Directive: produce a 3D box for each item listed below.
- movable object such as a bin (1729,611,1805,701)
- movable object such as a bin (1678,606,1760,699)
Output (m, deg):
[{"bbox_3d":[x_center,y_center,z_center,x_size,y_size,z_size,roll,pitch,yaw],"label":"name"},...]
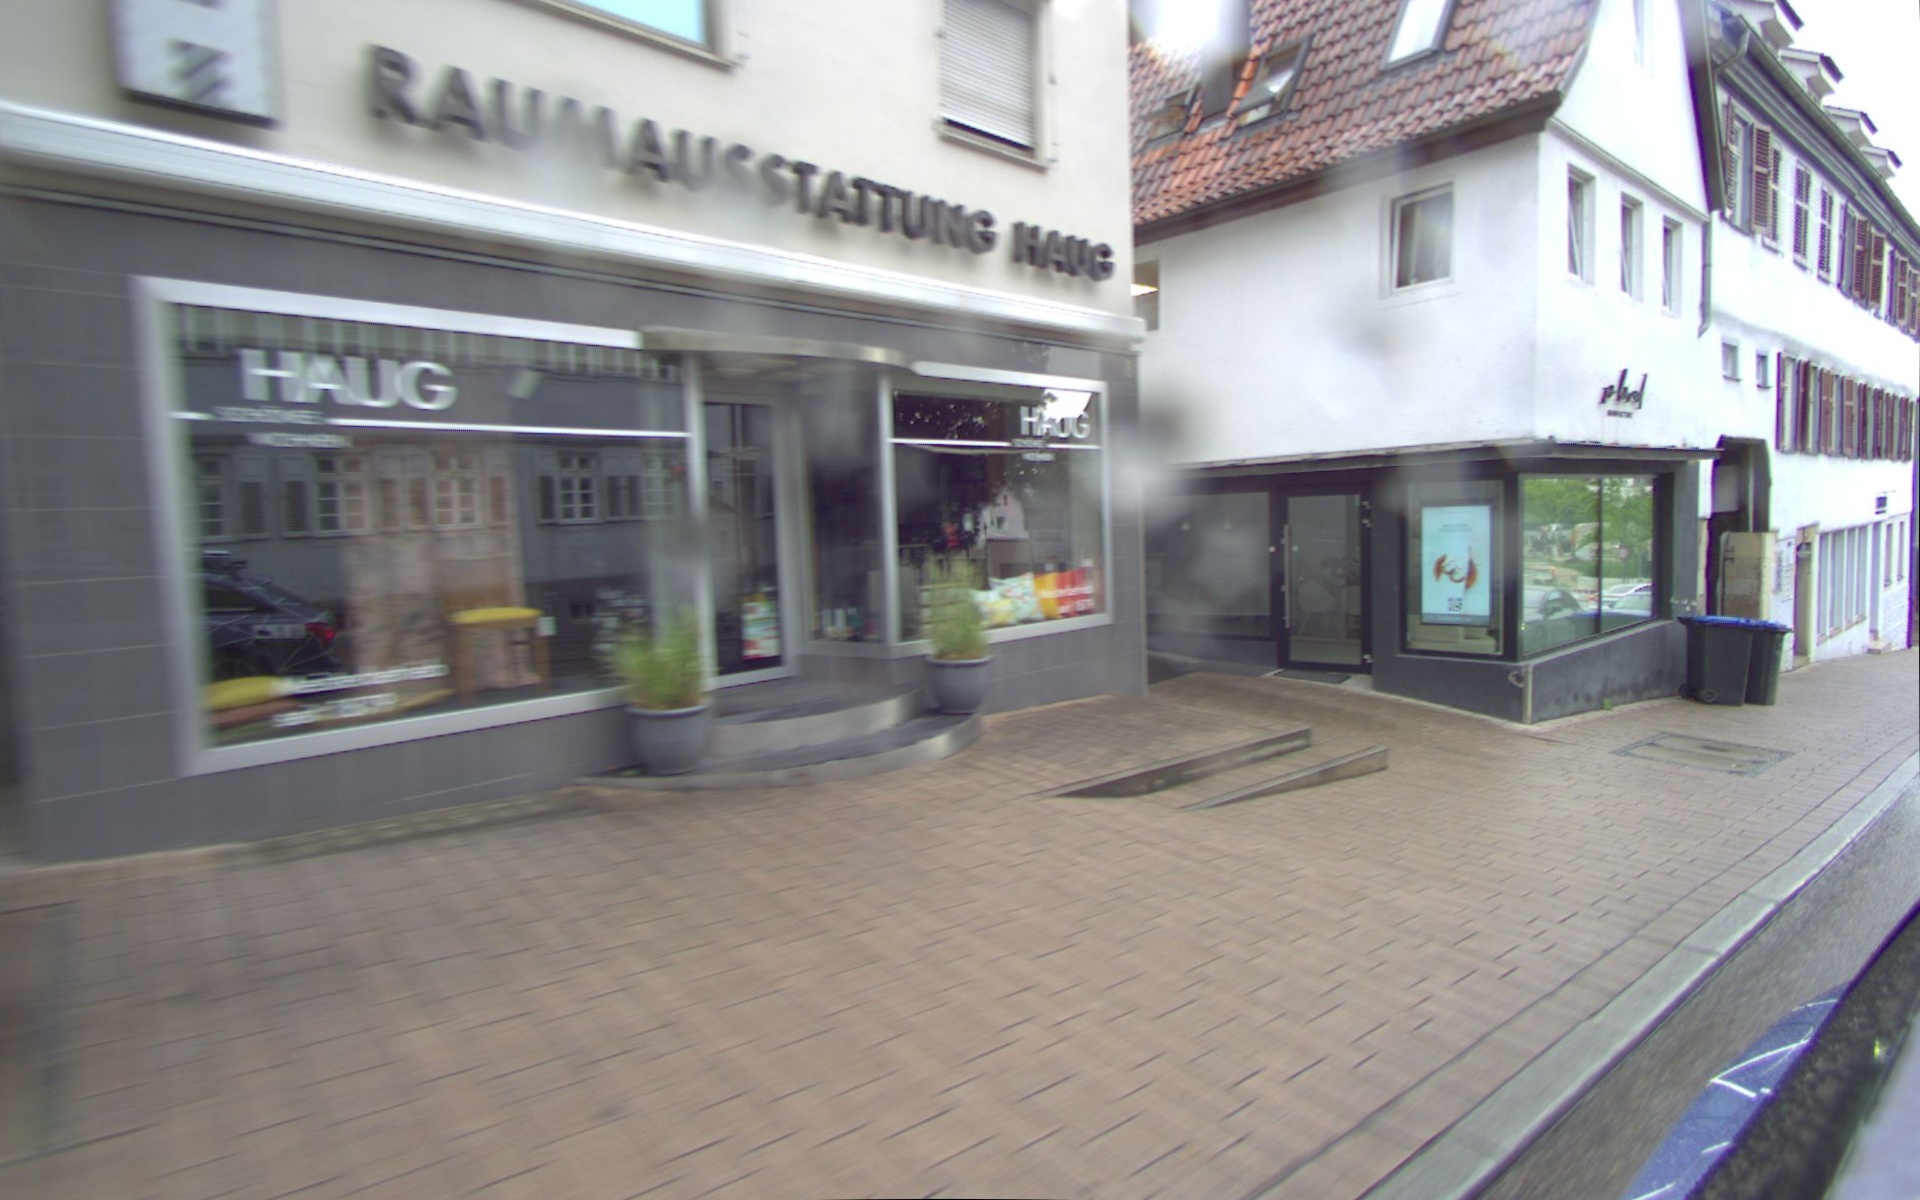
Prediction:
[{"bbox_3d":[10.122,0.686,12.697,0.468,1.040,0.597,0,4,-39],"label":"movable object such as a bin"},{"bbox_3d":[9.132,0.625,12.190,0.561,1.040,0.468,3,3,9],"label":"movable object such as a bin"}]
